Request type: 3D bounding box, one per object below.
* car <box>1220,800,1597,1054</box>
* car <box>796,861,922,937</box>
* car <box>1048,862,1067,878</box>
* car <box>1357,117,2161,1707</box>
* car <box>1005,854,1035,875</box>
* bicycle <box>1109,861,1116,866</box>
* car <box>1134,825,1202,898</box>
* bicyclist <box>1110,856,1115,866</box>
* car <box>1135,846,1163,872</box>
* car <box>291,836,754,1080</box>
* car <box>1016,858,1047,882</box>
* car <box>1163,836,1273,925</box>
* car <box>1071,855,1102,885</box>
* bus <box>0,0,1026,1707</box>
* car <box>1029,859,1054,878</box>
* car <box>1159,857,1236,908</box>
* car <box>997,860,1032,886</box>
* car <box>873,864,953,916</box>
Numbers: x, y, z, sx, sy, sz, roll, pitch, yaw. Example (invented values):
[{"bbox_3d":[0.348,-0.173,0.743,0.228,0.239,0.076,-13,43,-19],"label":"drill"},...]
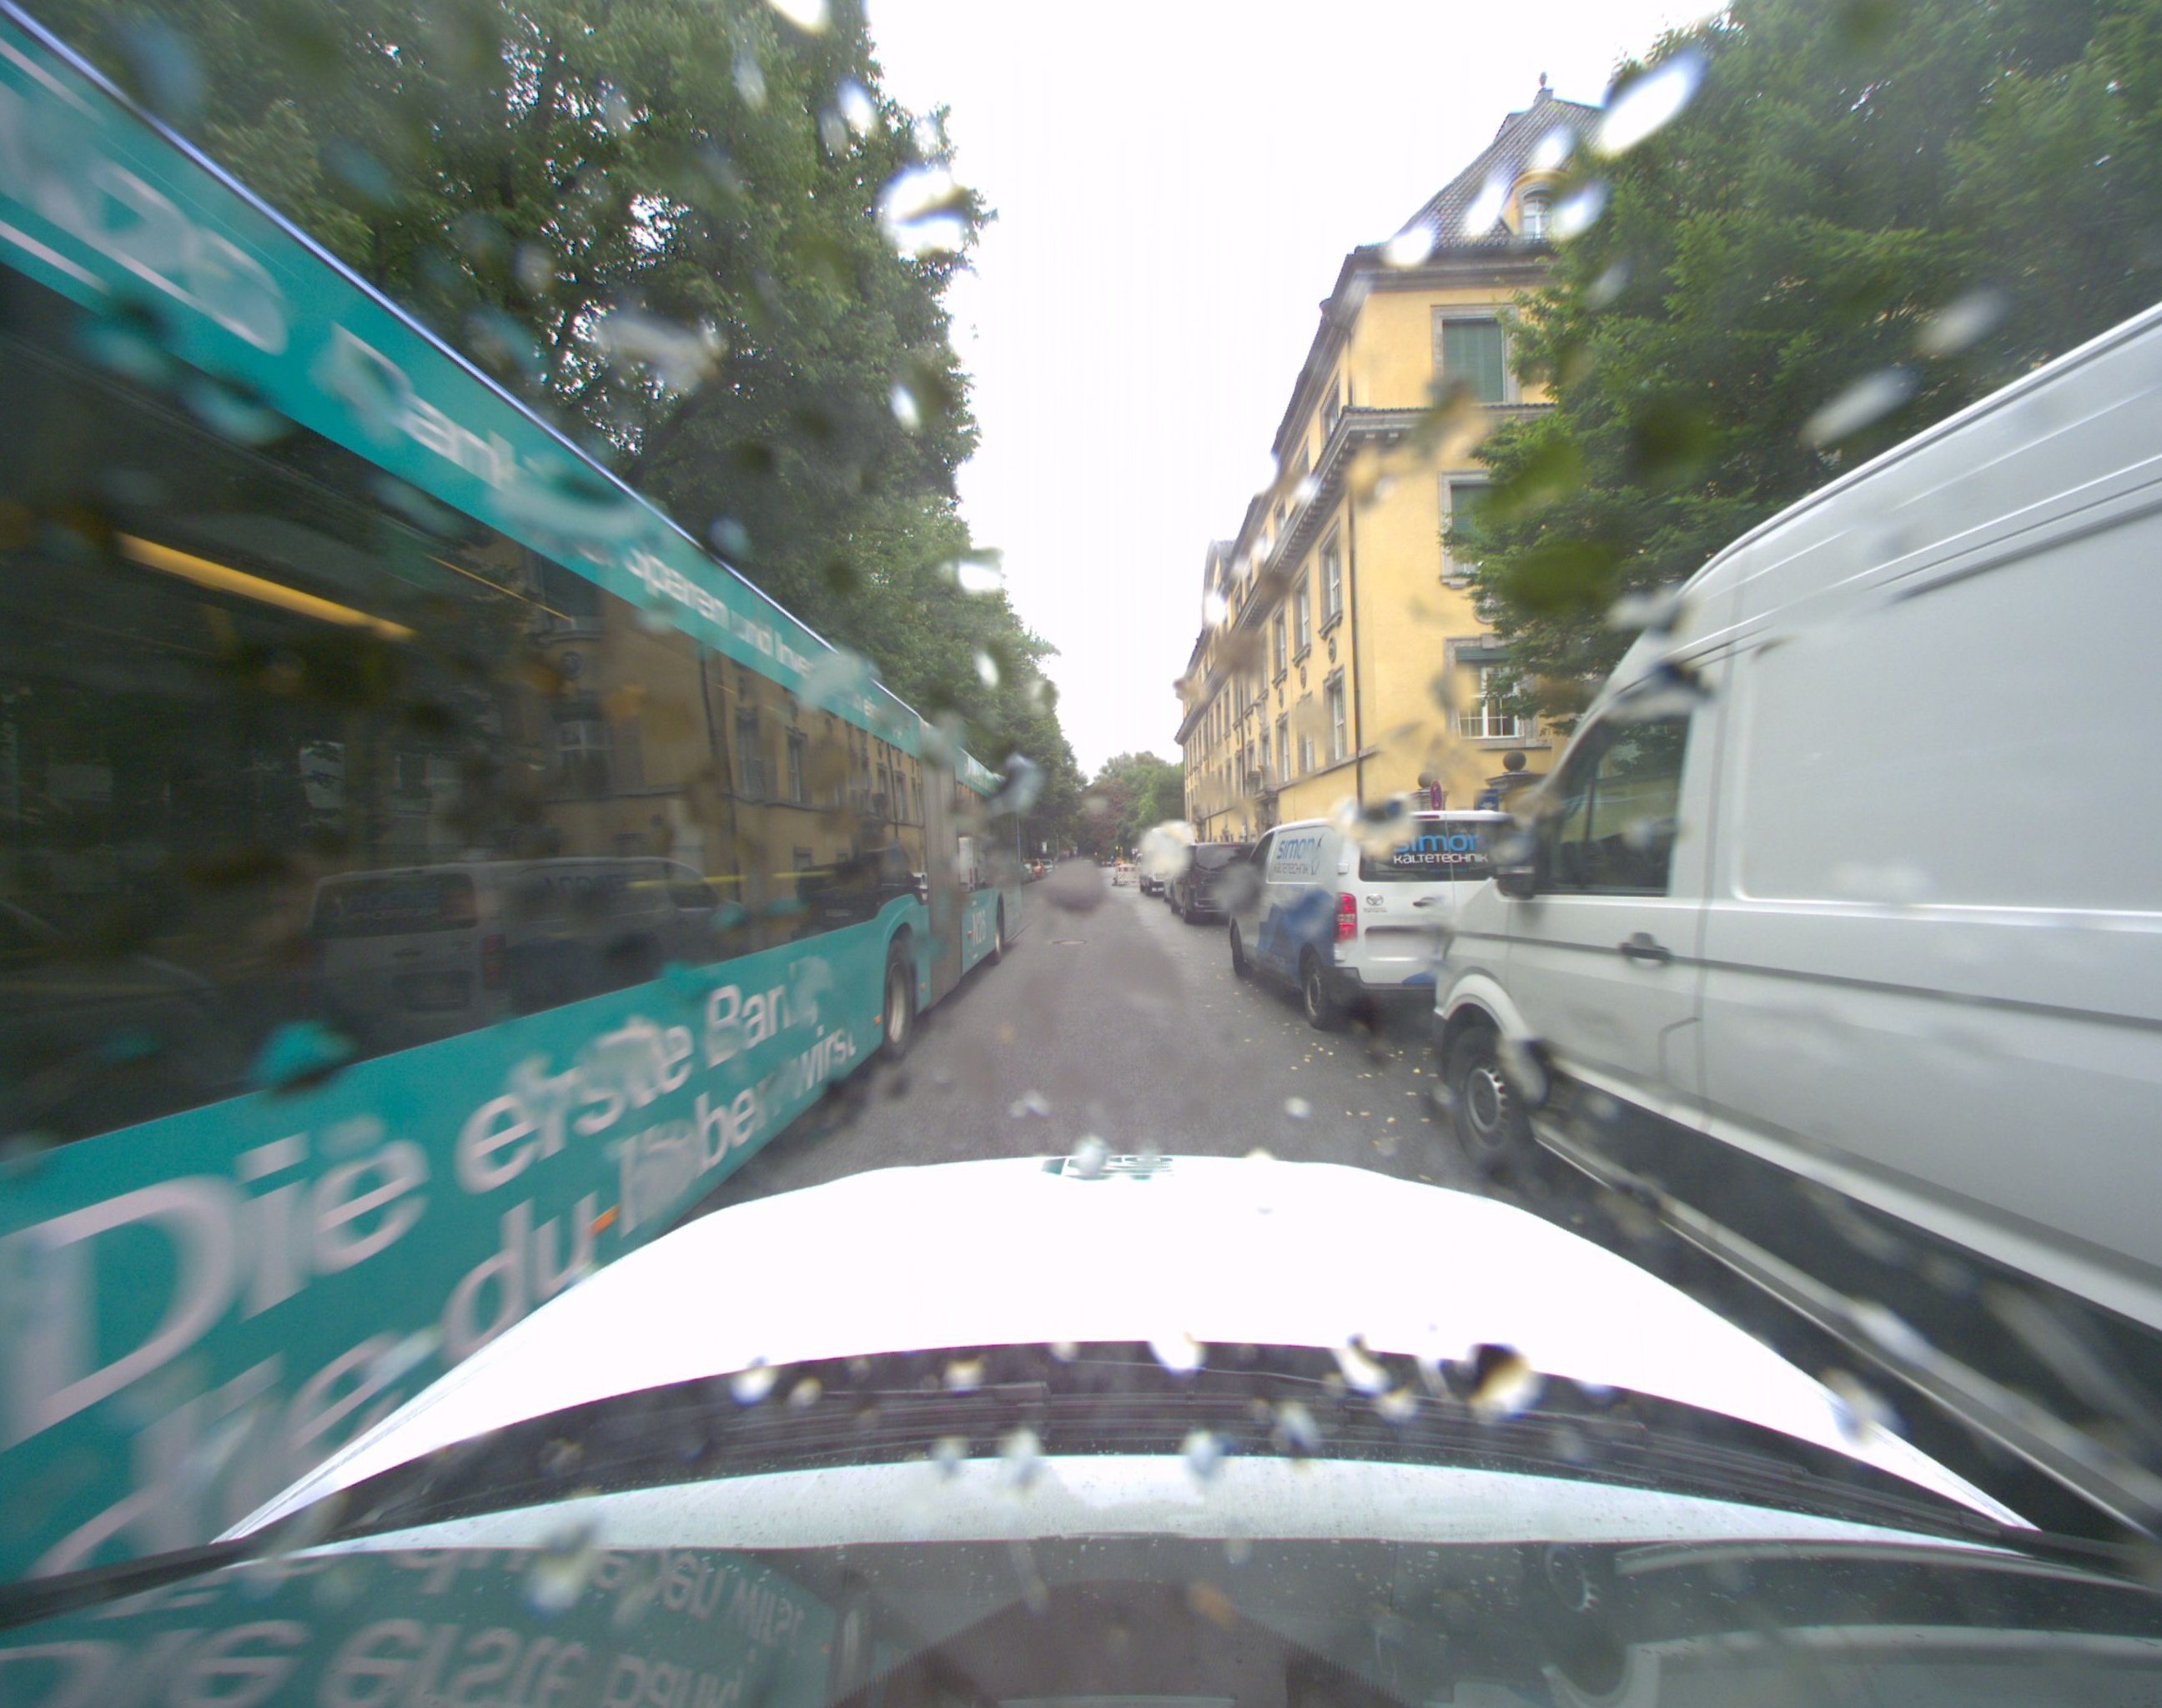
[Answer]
[{"bbox_3d":[2.918,0.570,8.744,2.006,1.906,5.164,0,-1,1],"label":"car"},{"bbox_3d":[-5.295,1.020,20.047,1.778,1.597,4.584,-2,-1,0],"label":"car"},{"bbox_3d":[-2.267,1.516,79.506,1.571,1.497,4.201,-2,-1,2],"label":"car"},{"bbox_3d":[2.647,0.165,1.827,2.088,2.488,5.739,-2,-1,1],"label":"car"},{"bbox_3d":[-4.372,0.748,59.183,1.721,1.423,4.252,-2,0,1],"label":"car"},{"bbox_3d":[5.072,1.553,131.393,0.679,0.830,2.105,-1,-1,-7],"label":"bicycle"},{"bbox_3d":[3.506,0.343,34.369,2.048,2.673,7.613,-2,-1,0],"label":"car"},{"bbox_3d":[5.058,1.145,131.378,0.680,1.504,0.899,-2,-1,-6],"label":"bicyclist"},{"bbox_3d":[4.877,0.406,59.158,1.733,1.750,4.356,-2,-1,1],"label":"car"},{"bbox_3d":[-5.355,0.855,8.746,1.778,1.877,4.547,-2,-1,0],"label":"car"},{"bbox_3d":[-3.917,1.258,65.142,1.865,1.728,4.645,-2,-1,3],"label":"car"},{"bbox_3d":[3.235,0.615,20.214,1.864,1.869,4.986,-2,-1,0],"label":"car"},{"bbox_3d":[0.333,0.908,47.001,1.571,1.584,4.046,-2,-1,3],"label":"car"},{"bbox_3d":[-2.707,-0.060,6.133,2.849,3.239,18.427,-2,-1,1],"label":"bus"},{"bbox_3d":[-3.555,1.308,73.762,1.808,1.601,4.515,-2,-1,2],"label":"car"},{"bbox_3d":[3.661,0.888,26.333,1.865,1.458,4.254,-2,-1,0],"label":"car"},{"bbox_3d":[-4.337,1.233,53.566,1.779,1.574,4.487,-2,0,1],"label":"car"},{"bbox_3d":[-5.308,1.097,26.241,1.666,1.469,4.103,-2,-1,0],"label":"car"}]
